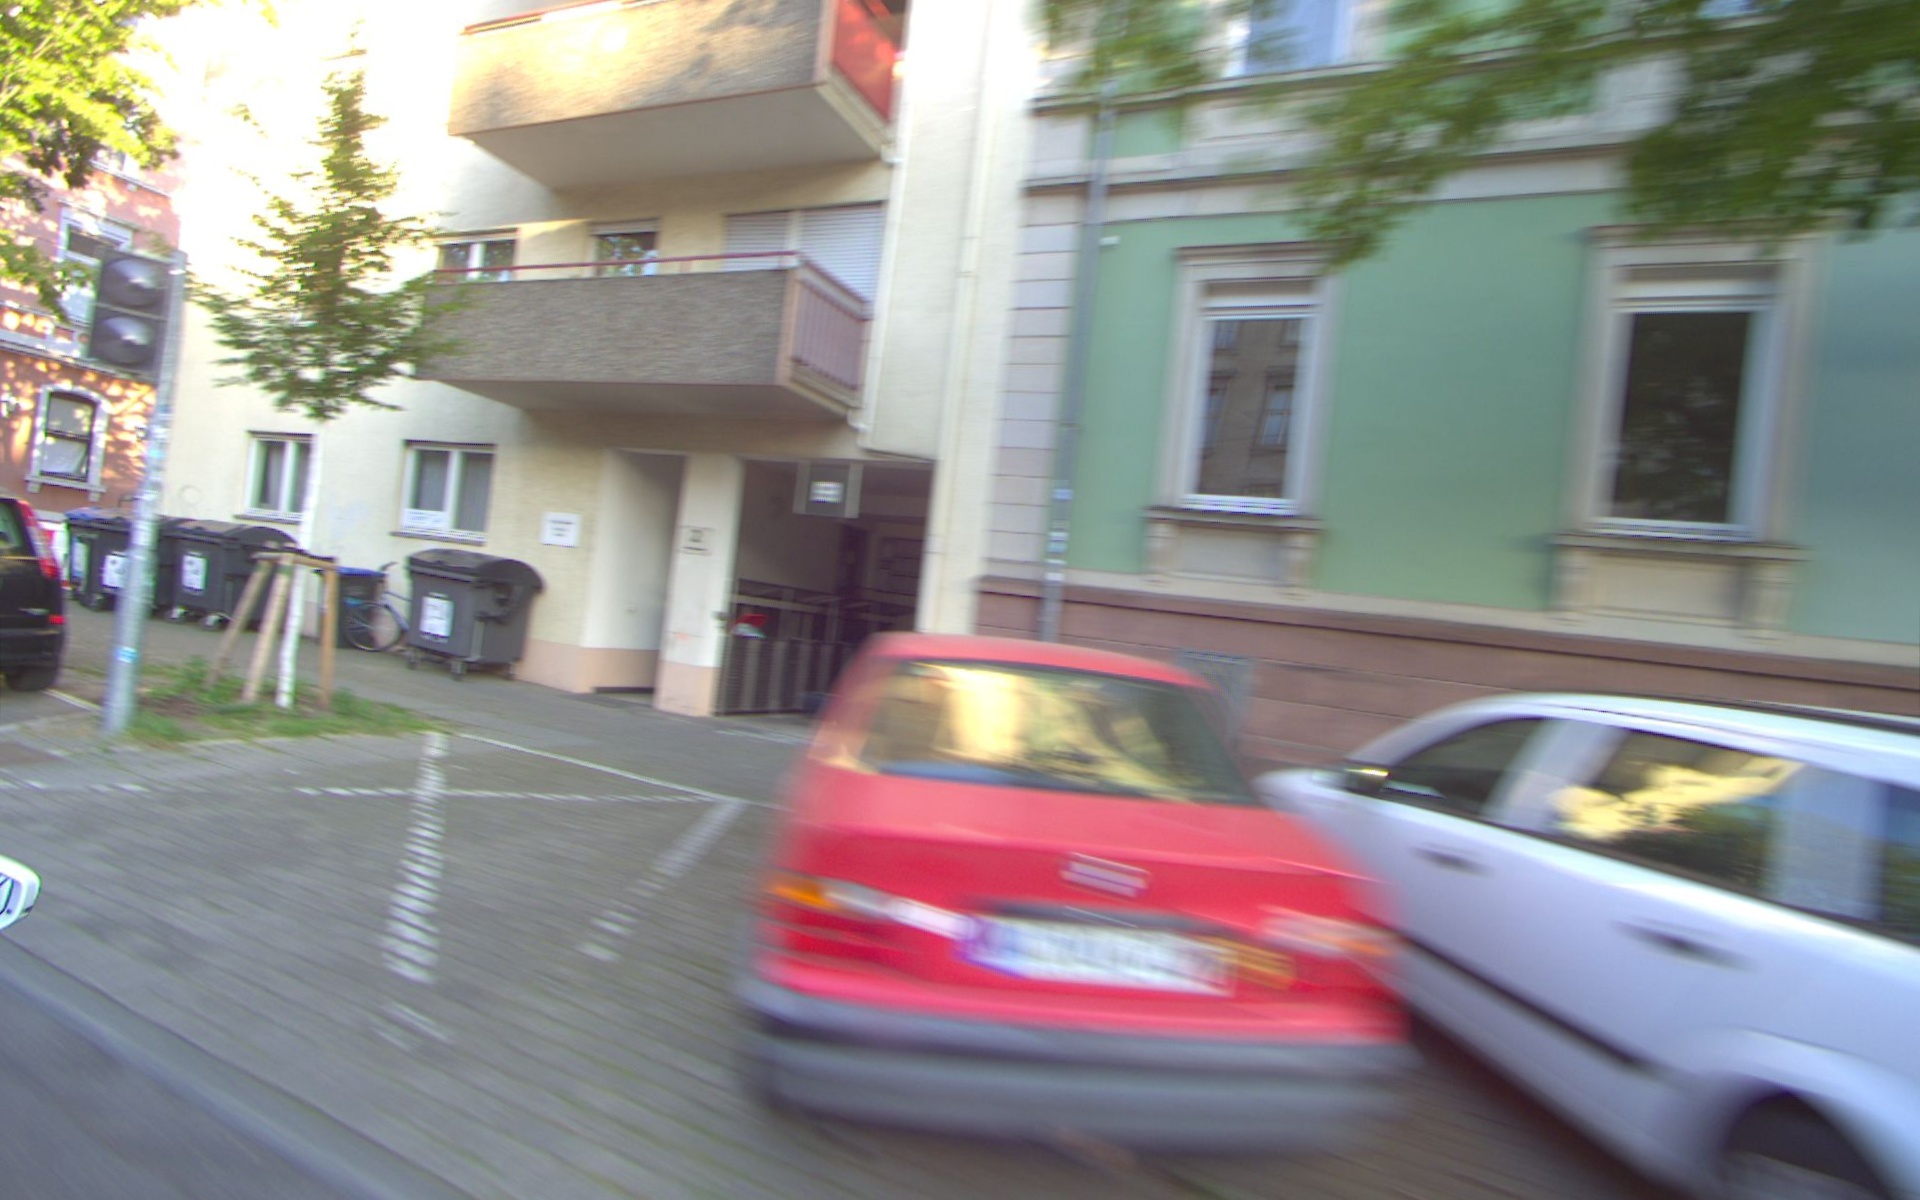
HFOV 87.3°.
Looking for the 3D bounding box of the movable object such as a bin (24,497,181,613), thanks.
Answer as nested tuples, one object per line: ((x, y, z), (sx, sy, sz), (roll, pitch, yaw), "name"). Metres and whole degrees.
((-13.119, -0.677, 15.408), (1.569, 1.519, 1.144), (7, -1, 25), "movable object such as a bin")

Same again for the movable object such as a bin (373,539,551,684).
((-6.000, 0.153, 12.154), (1.455, 1.519, 1.117), (7, -1, 25), "movable object such as a bin")

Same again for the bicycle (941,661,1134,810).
((0.713, 1.208, 9.244), (1.528, 1.087, 0.652), (7, -1, 25), "bicycle")

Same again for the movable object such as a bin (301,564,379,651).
((-8.205, 0.104, 13.324), (0.560, 1.060, 0.555), (7, -1, 24), "movable object such as a bin")

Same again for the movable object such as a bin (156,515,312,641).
((-9.995, -0.290, 13.877), (1.248, 1.519, 1.144), (7, -1, 25), "movable object such as a bin")

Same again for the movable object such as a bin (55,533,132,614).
((-12.398, -0.372, 14.399), (0.560, 1.060, 0.555), (7, -1, 24), "movable object such as a bin")

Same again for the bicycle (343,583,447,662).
((-7.341, 0.294, 13.074), (1.202, 0.874, 0.414), (7, -1, 20), "bicycle")

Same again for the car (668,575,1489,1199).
((0.124, 0.839, 4.226), (1.616, 1.471, 4.210), (7, -2, -4), "car")

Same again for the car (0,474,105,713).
((-8.533, -0.246, 7.593), (4.017, 1.653, 1.746), (6, 1, 28), "car")

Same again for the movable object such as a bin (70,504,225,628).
((-11.413, -0.464, 14.154), (1.295, 1.519, 1.076), (7, -1, 23), "movable object such as a bin")

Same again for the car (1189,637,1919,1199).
((2.429, 1.141, 3.493), (1.692, 1.745, 4.207), (7, -2, -7), "car")
